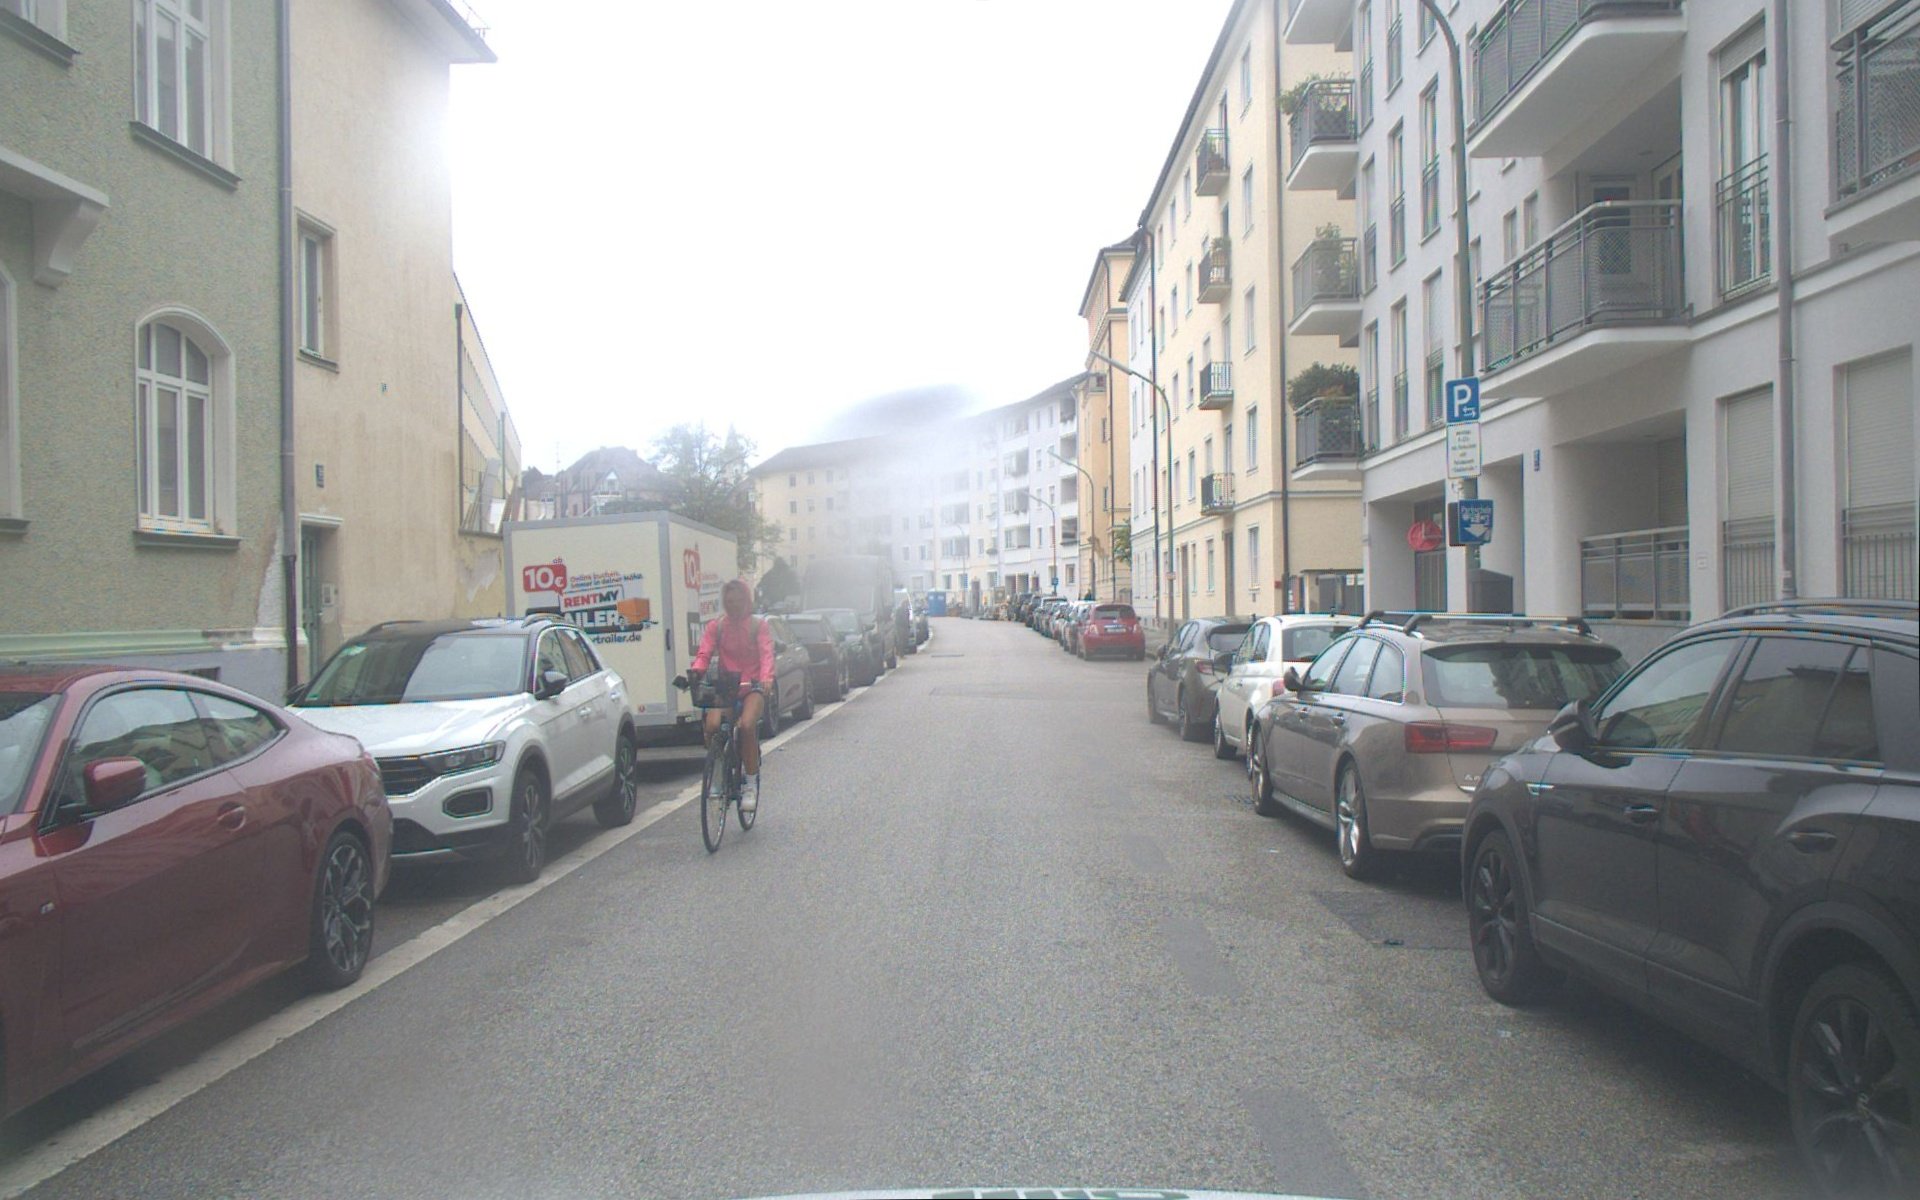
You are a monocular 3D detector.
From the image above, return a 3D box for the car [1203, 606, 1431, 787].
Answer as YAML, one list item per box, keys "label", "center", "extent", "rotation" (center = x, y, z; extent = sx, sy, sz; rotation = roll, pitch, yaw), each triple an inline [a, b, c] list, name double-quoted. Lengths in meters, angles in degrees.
- label: "car"
  center: [3.381, 0.848, 16.220]
  extent: [1.488, 1.557, 3.526]
  rotation: [1, 0, 0]

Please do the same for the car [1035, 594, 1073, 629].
- label: "car"
  center: [4.534, 0.544, 79.990]
  extent: [1.558, 1.610, 4.299]
  rotation: [0, 0, 0]

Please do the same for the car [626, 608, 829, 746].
- label: "car"
  center: [-2.954, 0.928, 22.004]
  extent: [1.729, 1.565, 4.543]
  rotation: [-3, 0, 4]

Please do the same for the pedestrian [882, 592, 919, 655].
- label: "pedestrian"
  center: [-1.667, 0.666, 46.467]
  extent: [0.661, 1.758, 0.791]
  rotation: [-1, -3, 45]

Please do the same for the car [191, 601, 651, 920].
- label: "car"
  center: [-3.267, 0.863, 10.857]
  extent: [1.652, 1.631, 3.921]
  rotation: [-3, 0, 0]

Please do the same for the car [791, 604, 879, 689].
- label: "car"
  center: [-2.474, 0.891, 33.435]
  extent: [1.553, 1.565, 3.543]
  rotation: [-2, 0, -1]

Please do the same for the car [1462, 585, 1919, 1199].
- label: "car"
  center: [2.975, 0.767, 5.167]
  extent: [1.571, 1.557, 3.984]
  rotation: [2, 0, 0]

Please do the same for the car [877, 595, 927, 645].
- label: "car"
  center: [-2.146, 0.716, 61.834]
  extent: [1.667, 1.720, 4.028]
  rotation: [-3, 0, 0]

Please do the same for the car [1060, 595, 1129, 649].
- label: "car"
  center: [3.992, 0.647, 49.620]
  extent: [1.658, 1.518, 4.342]
  rotation: [-1, -1, 0]

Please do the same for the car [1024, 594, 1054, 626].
- label: "car"
  center: [4.280, 0.516, 89.909]
  extent: [1.444, 1.669, 4.000]
  rotation: [0, 0, 0]

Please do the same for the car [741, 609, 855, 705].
- label: "car"
  center: [-2.730, 0.926, 28.527]
  extent: [1.666, 1.471, 3.824]
  rotation: [0, 1, -1]

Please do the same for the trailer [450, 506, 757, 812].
- label: "trailer"
  center: [-3.283, 0.494, 16.147]
  extent: [1.673, 2.504, 4.388]
  rotation: [-3, 0, 4]

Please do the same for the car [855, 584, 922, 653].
- label: "car"
  center: [-2.178, 0.541, 51.385]
  extent: [1.844, 1.965, 4.600]
  rotation: [-3, 0, 0]

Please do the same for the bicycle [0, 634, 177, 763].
- label: "bicycle"
  center: [-7.151, 0.774, 13.618]
  extent: [0.512, 0.922, 1.928]
  rotation: [2, 0, -2]

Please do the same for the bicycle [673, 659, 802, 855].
- label: "bicycle"
  center: [-1.483, 1.017, 11.267]
  extent: [0.493, 1.148, 1.774]
  rotation: [-2, 0, 4]

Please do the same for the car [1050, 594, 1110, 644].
- label: "car"
  center: [3.957, 0.611, 55.120]
  extent: [1.658, 1.517, 4.282]
  rotation: [-1, 1, 0]

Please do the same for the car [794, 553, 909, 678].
- label: "car"
  center: [-2.435, 0.305, 38.533]
  extent: [2.044, 2.682, 5.379]
  rotation: [-1, 0, 3]

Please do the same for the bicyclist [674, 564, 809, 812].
- label: "bicyclist"
  center: [-1.467, 0.569, 11.224]
  extent: [0.679, 1.589, 0.967]
  rotation: [-2, 0, 4]

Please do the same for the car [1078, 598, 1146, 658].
- label: "car"
  center: [4.065, 0.727, 44.767]
  extent: [1.562, 1.535, 3.801]
  rotation: [-1, 0, 1]

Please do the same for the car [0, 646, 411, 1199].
- label: "car"
  center: [-3.485, 0.947, 5.467]
  extent: [1.823, 1.437, 4.333]
  rotation: [-3, -1, 0]

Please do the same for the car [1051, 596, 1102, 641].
- label: "car"
  center: [4.230, 0.648, 60.441]
  extent: [1.566, 1.517, 3.798]
  rotation: [-1, 1, -1]

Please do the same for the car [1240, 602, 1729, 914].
- label: "car"
  center: [3.095, 0.817, 10.825]
  extent: [1.698, 1.557, 4.621]
  rotation: [2, 0, 0]

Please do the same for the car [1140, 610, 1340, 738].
- label: "car"
  center: [3.398, 0.860, 20.808]
  extent: [1.727, 1.432, 4.077]
  rotation: [0, -1, -1]

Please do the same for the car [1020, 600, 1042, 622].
- label: "car"
  center: [4.368, 0.690, 101.845]
  extent: [1.246, 1.321, 2.797]
  rotation: [0, 0, 0]
